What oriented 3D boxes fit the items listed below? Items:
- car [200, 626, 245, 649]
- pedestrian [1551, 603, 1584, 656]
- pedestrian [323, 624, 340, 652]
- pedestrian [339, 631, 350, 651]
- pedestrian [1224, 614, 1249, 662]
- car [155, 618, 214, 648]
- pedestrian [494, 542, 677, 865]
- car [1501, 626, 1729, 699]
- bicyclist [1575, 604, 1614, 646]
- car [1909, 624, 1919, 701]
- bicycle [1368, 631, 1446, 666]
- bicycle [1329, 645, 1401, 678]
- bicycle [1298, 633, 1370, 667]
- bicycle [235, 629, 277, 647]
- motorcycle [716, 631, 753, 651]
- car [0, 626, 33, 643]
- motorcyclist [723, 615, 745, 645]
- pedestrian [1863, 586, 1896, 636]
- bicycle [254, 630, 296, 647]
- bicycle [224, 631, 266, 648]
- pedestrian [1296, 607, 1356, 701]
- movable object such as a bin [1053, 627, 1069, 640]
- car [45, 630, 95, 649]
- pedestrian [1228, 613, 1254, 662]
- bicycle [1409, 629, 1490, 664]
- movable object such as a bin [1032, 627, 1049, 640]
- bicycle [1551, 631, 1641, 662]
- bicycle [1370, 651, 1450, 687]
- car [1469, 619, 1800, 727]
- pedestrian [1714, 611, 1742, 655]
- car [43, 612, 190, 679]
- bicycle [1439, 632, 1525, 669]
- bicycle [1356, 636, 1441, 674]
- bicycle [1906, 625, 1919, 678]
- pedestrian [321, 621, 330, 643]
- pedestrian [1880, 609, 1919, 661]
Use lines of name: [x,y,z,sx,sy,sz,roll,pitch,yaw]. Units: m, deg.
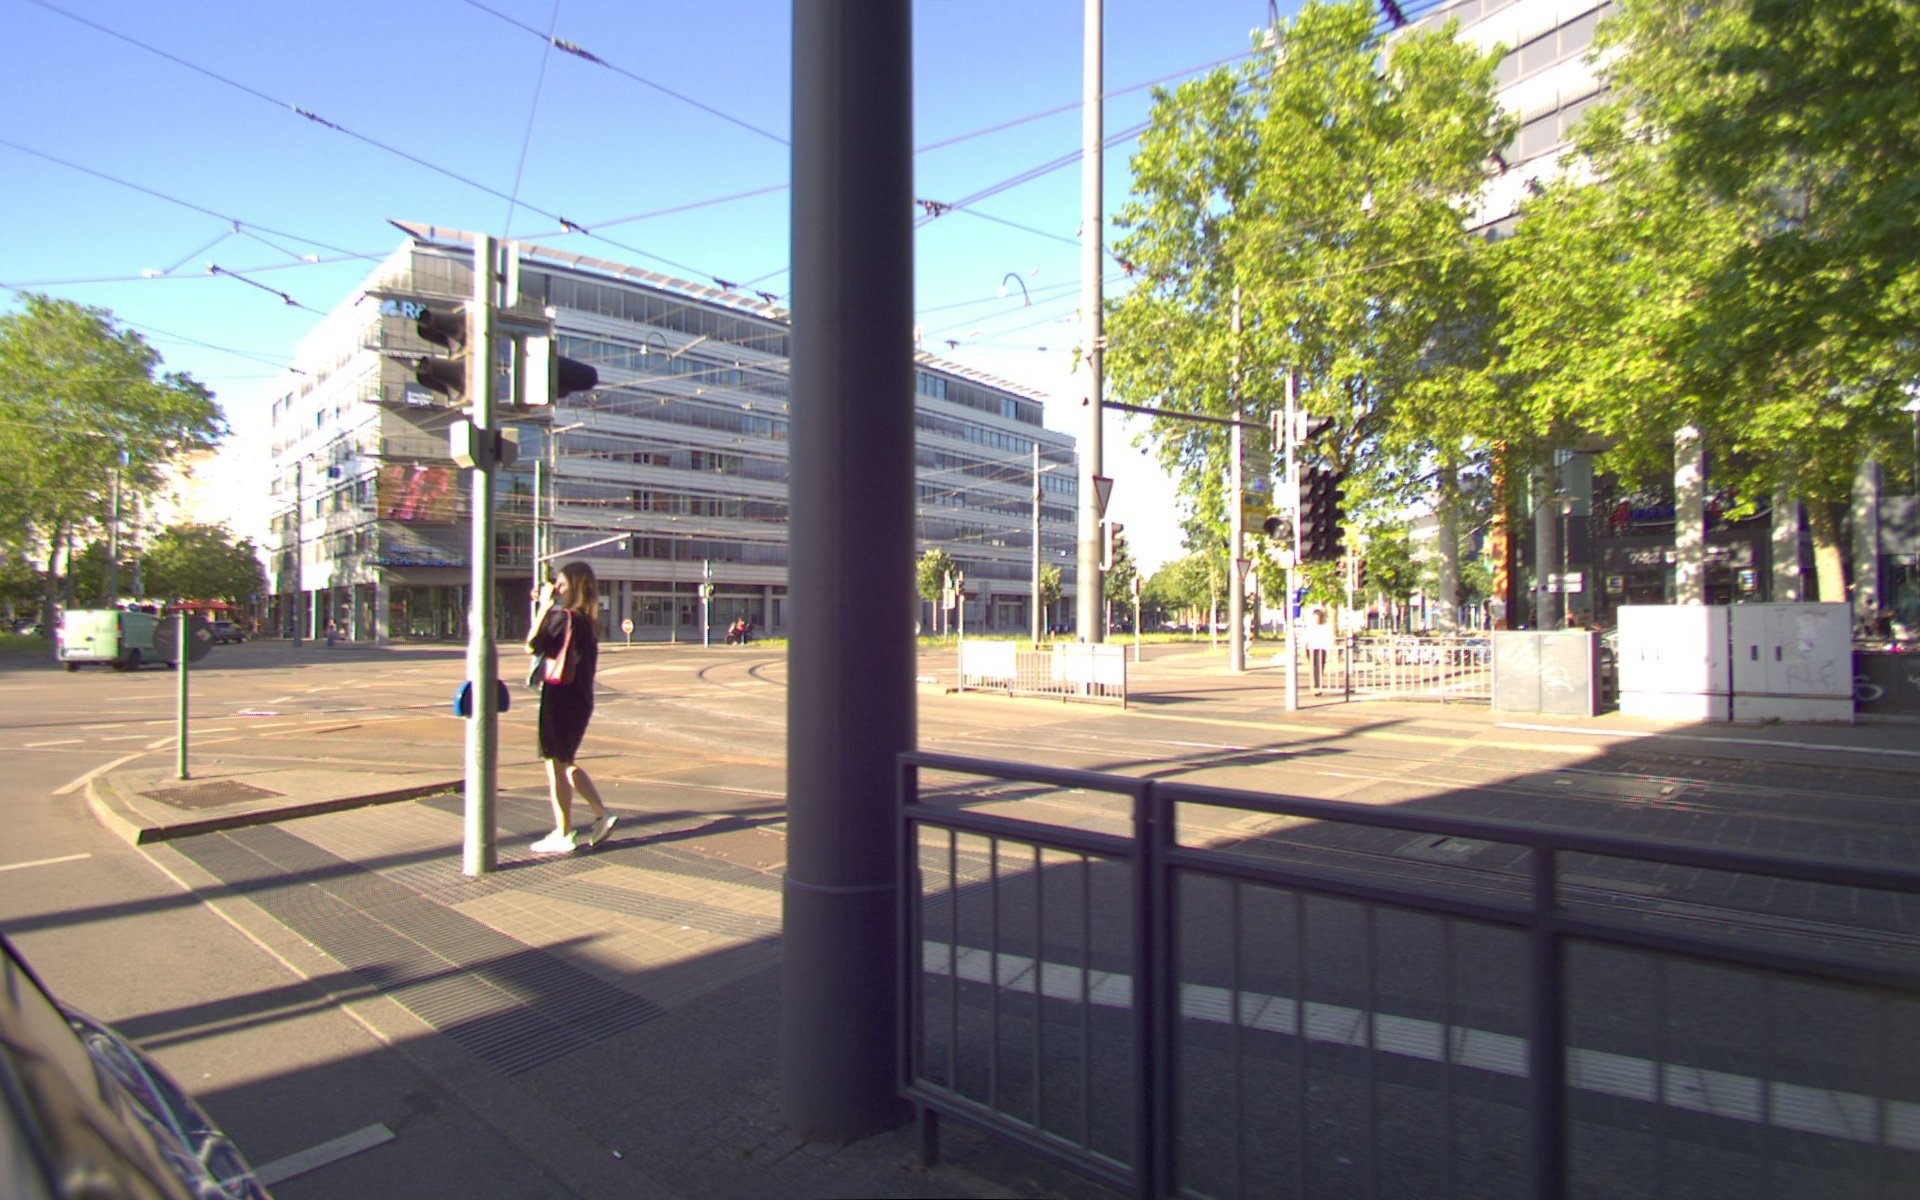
car: [-48.733,2.475,66.850,1.839,1.486,3.980,2,-2,-44]
pedestrian: [19.526,0.954,32.536,0.717,1.693,0.819,-2,-4,44]
pedestrian: [-37.598,2.284,60.555,0.793,1.653,0.652,-3,-4,41]
pedestrian: [-36.942,2.478,60.742,0.461,1.219,0.437,-3,-4,40]
pedestrian: [11.211,1.535,41.002,0.734,1.884,0.689,-2,-2,43]
car: [-53.367,2.258,69.597,4.445,2.031,1.846,-1,-2,34]
pedestrian: [-2.179,0.565,5.876,0.705,1.693,0.832,3,-4,-40]
car: [14.385,1.310,22.348,4.001,1.417,1.647,-1,-1,44]
bicyclist: [23.564,0.933,37.594,0.881,1.560,0.942,2,-3,-34]
car: [19.686,1.153,18.050,4.001,1.417,1.647,-1,-1,44]
bicycle: [15.070,1.625,34.166,2.367,1.137,0.590,-1,-3,43]
bicycle: [14.605,2.192,36.555,2.368,1.137,0.590,-2,-3,45]
bicycle: [13.213,1.755,35.826,2.368,1.137,0.590,-2,-3,45]
bicycle: [-49.505,2.682,71.176,0.771,1.223,2.373,-2,-3,26]
motorcycle: [-14.360,2.571,64.484,0.821,1.230,2.224,-1,-2,41]
car: [-87.515,3.177,93.277,3.960,1.486,1.849,-1,-2,29]
motorcyclist: [-14.403,1.905,64.436,0.821,1.871,1.097,-1,-2,41]
pedestrian: [32.720,0.399,36.009,0.687,1.781,0.707,1,-2,-36]
bicycle: [-47.917,2.708,70.823,2.358,1.223,0.776,2,-4,-43]
bicycle: [-51.737,2.897,73.283,0.771,1.223,2.373,-2,-3,26]
pedestrian: [6.804,0.993,18.814,0.818,1.693,0.717,3,-4,-39]
movable object such as a bin: [11.067,3.648,110.417,1.174,1.311,1.309,-2,-3,44]
car: [-73.461,3.240,83.561,3.960,1.486,1.849,-1,-2,29]
pedestrian: [11.121,1.477,40.048,0.733,1.884,0.664,-2,-2,41]
bicycle: [16.365,1.545,33.852,2.367,1.137,0.590,-1,-3,43]
movable object such as a bin: [8.510,3.531,106.750,1.329,1.311,1.157,-2,-3,44]
bicycle: [23.555,1.713,37.561,0.881,1.112,2.699,2,-3,-33]
bicycle: [14.855,2.263,33.450,2.367,1.137,0.590,-1,-3,43]
car: [10.107,0.999,15.345,3.999,1.425,1.648,-1,-1,42]
pedestrian: [29.098,1.241,38.344,0.695,1.665,0.699,1,-2,-42]
car: [-25.642,1.330,30.949,1.814,1.850,4.118,1,-1,-14]
bicycle: [16.633,1.602,32.281,2.367,1.137,0.590,-1,-3,43]
bicycle: [13.553,1.680,31.353,2.367,1.137,0.590,-1,-3,43]
bicycle: [24.601,1.290,24.927,1.030,1.363,3.330,-1,-2,28]
pedestrian: [-50.798,2.562,81.012,0.577,1.747,0.795,1,-3,-38]
pedestrian: [30.299,1.120,32.591,0.691,1.665,0.704,-1,-2,9]
